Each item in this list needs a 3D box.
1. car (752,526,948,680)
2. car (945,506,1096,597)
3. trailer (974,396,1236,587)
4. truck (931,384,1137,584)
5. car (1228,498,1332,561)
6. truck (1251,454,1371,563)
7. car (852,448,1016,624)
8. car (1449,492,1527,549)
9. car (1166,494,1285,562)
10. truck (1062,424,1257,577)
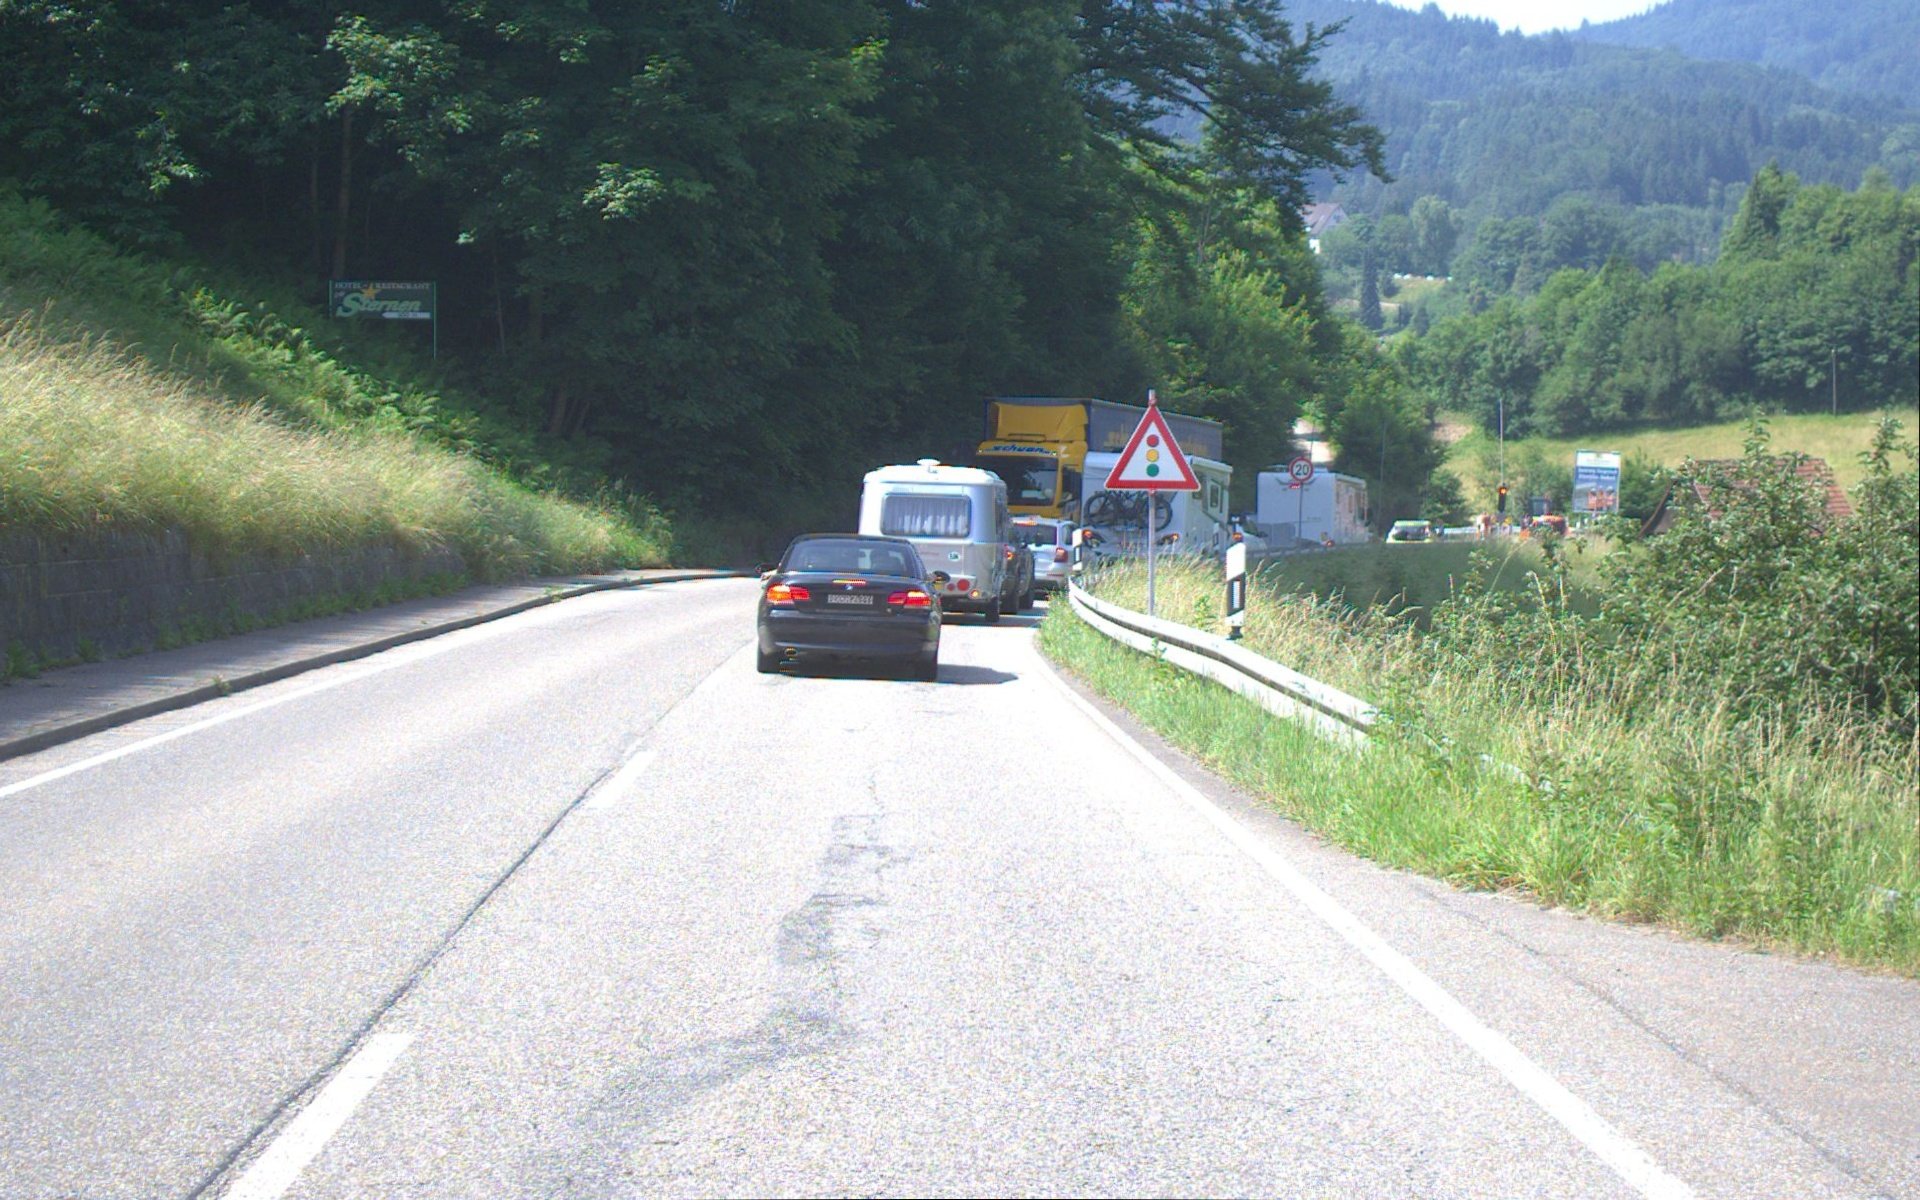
[{"bbox_3d":[-1.072,-0.013,33.760,1.771,1.331,3.767,2,2,-2],"label":"car"},{"bbox_3d":[1.135,-0.898,62.406,1.994,1.479,3.998,4,2,11],"label":"car"},{"bbox_3d":[4.034,-2.796,89.456,3.262,4.402,15.305,3,2,15],"label":"trailer"},{"bbox_3d":[1.832,-2.749,81.492,3.191,4.381,6.567,4,3,15],"label":"truck"},{"bbox_3d":[8.408,-1.857,90.012,1.789,1.459,3.997,5,3,18],"label":"car"},{"bbox_3d":[9.922,-2.525,96.699,2.239,2.794,6.227,3,1,15],"label":"truck"},{"bbox_3d":[-0.325,-0.996,50.246,1.994,2.344,4.914,2,3,3],"label":"car"},{"bbox_3d":[19.668,-2.965,127.924,1.996,1.919,3.996,5,3,19],"label":"car"},{"bbox_3d":[6.451,-1.766,83.165,1.995,1.459,3.997,5,3,16],"label":"car"},{"bbox_3d":[4.431,-2.170,74.972,2.793,2.987,6.864,5,3,14],"label":"truck"}]
